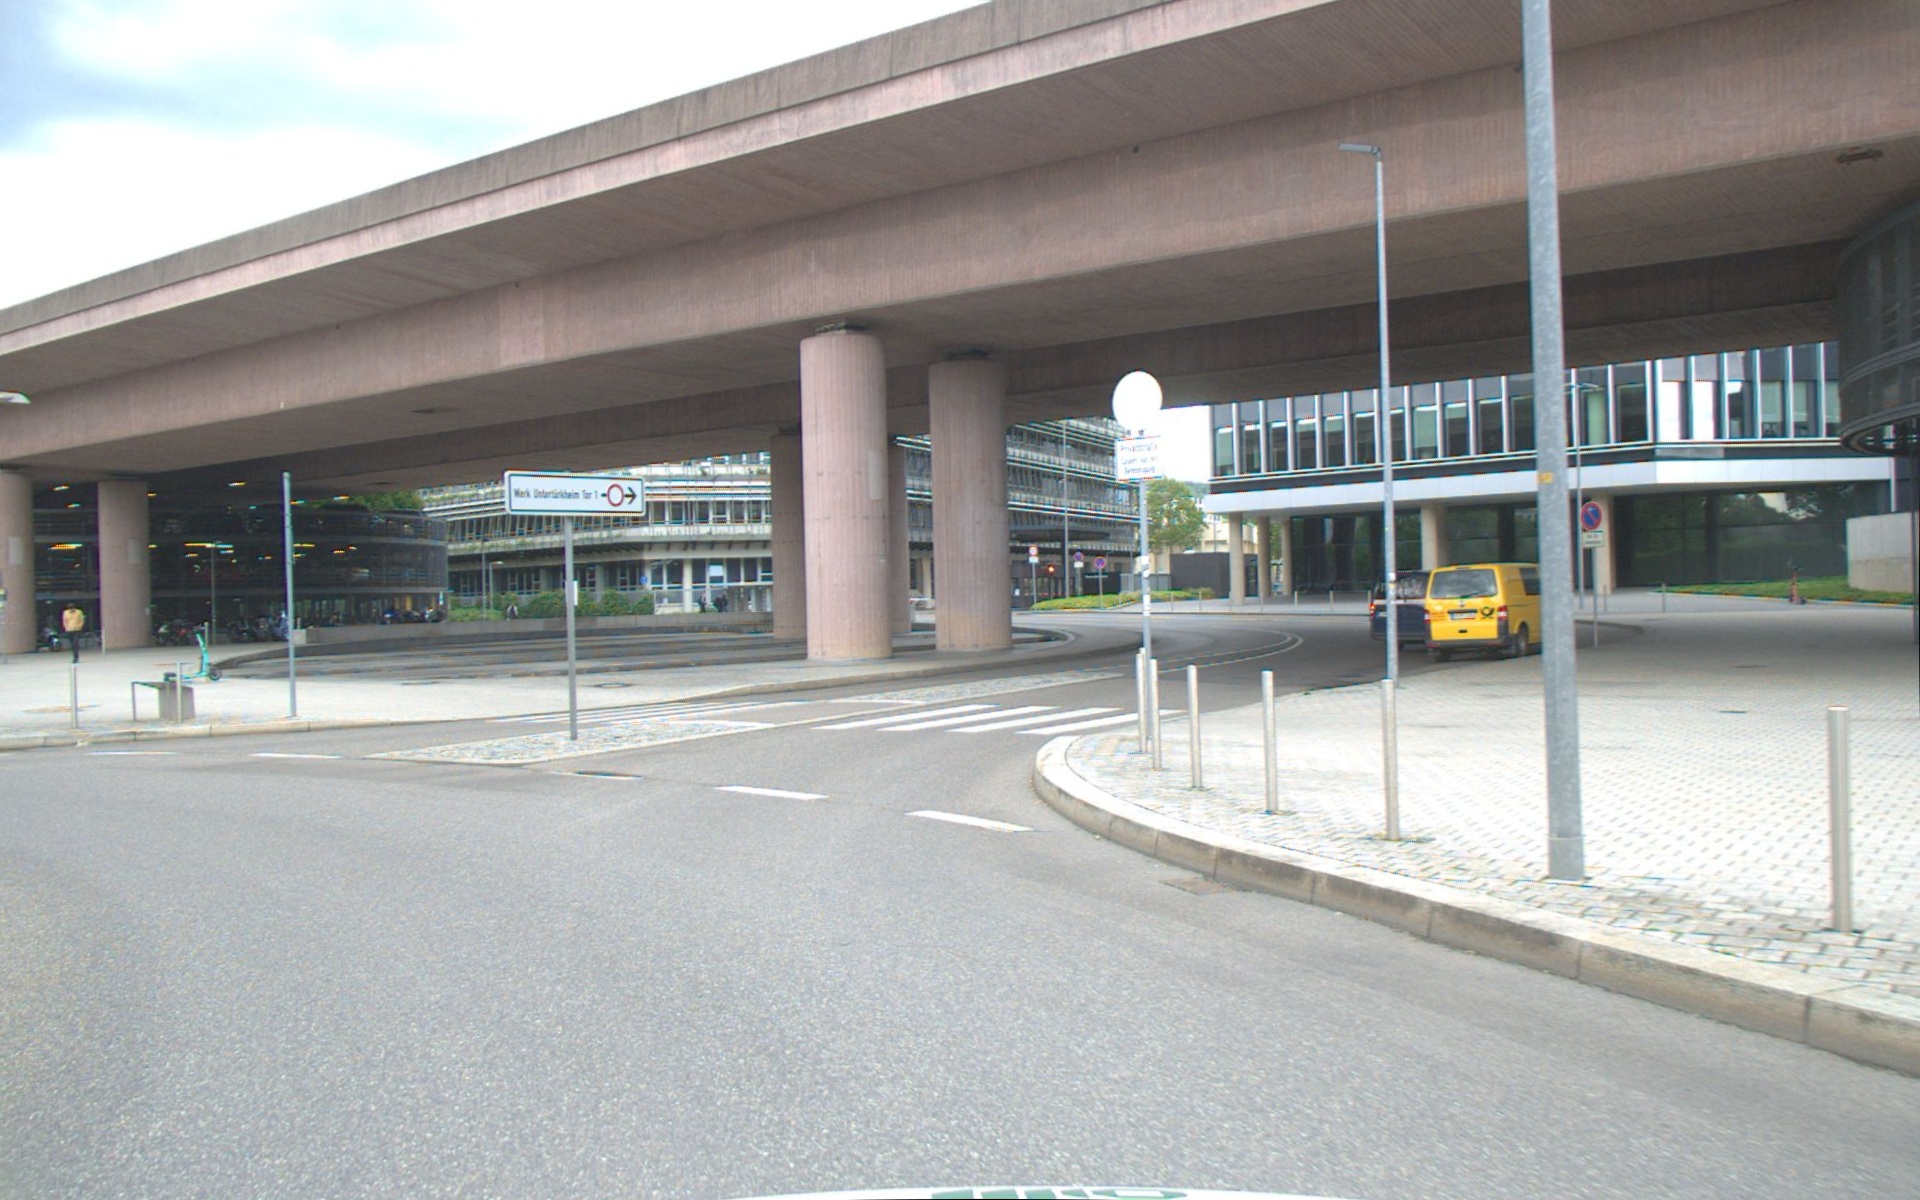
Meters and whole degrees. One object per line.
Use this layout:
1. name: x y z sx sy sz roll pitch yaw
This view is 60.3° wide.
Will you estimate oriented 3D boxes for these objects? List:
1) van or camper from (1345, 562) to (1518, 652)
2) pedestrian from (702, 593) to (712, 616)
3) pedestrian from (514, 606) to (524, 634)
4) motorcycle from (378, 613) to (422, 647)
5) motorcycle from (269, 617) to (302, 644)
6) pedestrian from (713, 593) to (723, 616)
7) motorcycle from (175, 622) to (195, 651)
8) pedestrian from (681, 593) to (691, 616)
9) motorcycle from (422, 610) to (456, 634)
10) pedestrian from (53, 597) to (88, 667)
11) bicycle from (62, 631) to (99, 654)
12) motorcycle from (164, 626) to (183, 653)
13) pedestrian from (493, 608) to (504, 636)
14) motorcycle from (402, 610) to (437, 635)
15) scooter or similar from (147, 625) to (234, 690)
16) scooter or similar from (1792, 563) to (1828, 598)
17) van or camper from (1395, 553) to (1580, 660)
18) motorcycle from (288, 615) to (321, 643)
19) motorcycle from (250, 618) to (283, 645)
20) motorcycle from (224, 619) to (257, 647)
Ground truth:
1. van or camper: 11.347 0.121 39.591 2.115 1.925 4.875 0 2 41
2. pedestrian: -16.887 0.282 110.241 0.484 1.507 0.545 -1 1 11
3. pedestrian: -32.357 1.497 121.376 0.524 2.049 0.565 -1 -1 -41
4. motorcycle: -22.426 1.196 66.290 0.535 1.286 1.942 -1 1 20
5. motorcycle: -32.709 1.464 80.167 2.042 1.241 0.670 0 2 43
6. pedestrian: -16.124 0.267 110.137 0.484 1.507 0.545 -1 1 11
7. motorcycle: -36.027 1.688 76.883 0.819 1.241 2.062 -2 1 -26
8. pedestrian: -18.590 0.303 112.165 0.484 1.507 0.545 -1 1 11
9. motorcycle: -27.828 1.178 88.268 2.322 1.241 0.670 0 2 43
10. pedestrian: -26.781 0.950 49.803 0.776 2.048 1.026 -2 1 -36
11. bicycle: -40.694 1.948 76.532 1.452 0.993 0.449 -2 1 -23
12. motorcycle: -34.903 1.768 73.405 0.511 1.191 1.147 -1 -2 -11
13. pedestrian: -33.807 1.631 121.120 0.524 2.049 0.565 -1 -1 -40
14. motorcycle: -28.437 1.170 86.998 2.322 1.298 0.670 0 2 43
15. scooter or similar: -16.764 1.241 36.036 1.629 1.318 0.512 -2 1 -33
16. scooter or similar: 28.490 -0.670 55.458 0.683 1.124 1.503 -1 1 12
17. van or camper: 11.286 0.106 35.214 2.316 2.034 4.486 -3 0 37
18. motorcycle: -32.067 1.393 80.905 2.042 1.308 0.670 0 2 43
19. motorcycle: -33.329 1.511 79.508 2.042 1.241 0.670 0 2 43
20. motorcycle: -34.250 1.558 78.754 2.042 1.241 0.670 0 2 43
